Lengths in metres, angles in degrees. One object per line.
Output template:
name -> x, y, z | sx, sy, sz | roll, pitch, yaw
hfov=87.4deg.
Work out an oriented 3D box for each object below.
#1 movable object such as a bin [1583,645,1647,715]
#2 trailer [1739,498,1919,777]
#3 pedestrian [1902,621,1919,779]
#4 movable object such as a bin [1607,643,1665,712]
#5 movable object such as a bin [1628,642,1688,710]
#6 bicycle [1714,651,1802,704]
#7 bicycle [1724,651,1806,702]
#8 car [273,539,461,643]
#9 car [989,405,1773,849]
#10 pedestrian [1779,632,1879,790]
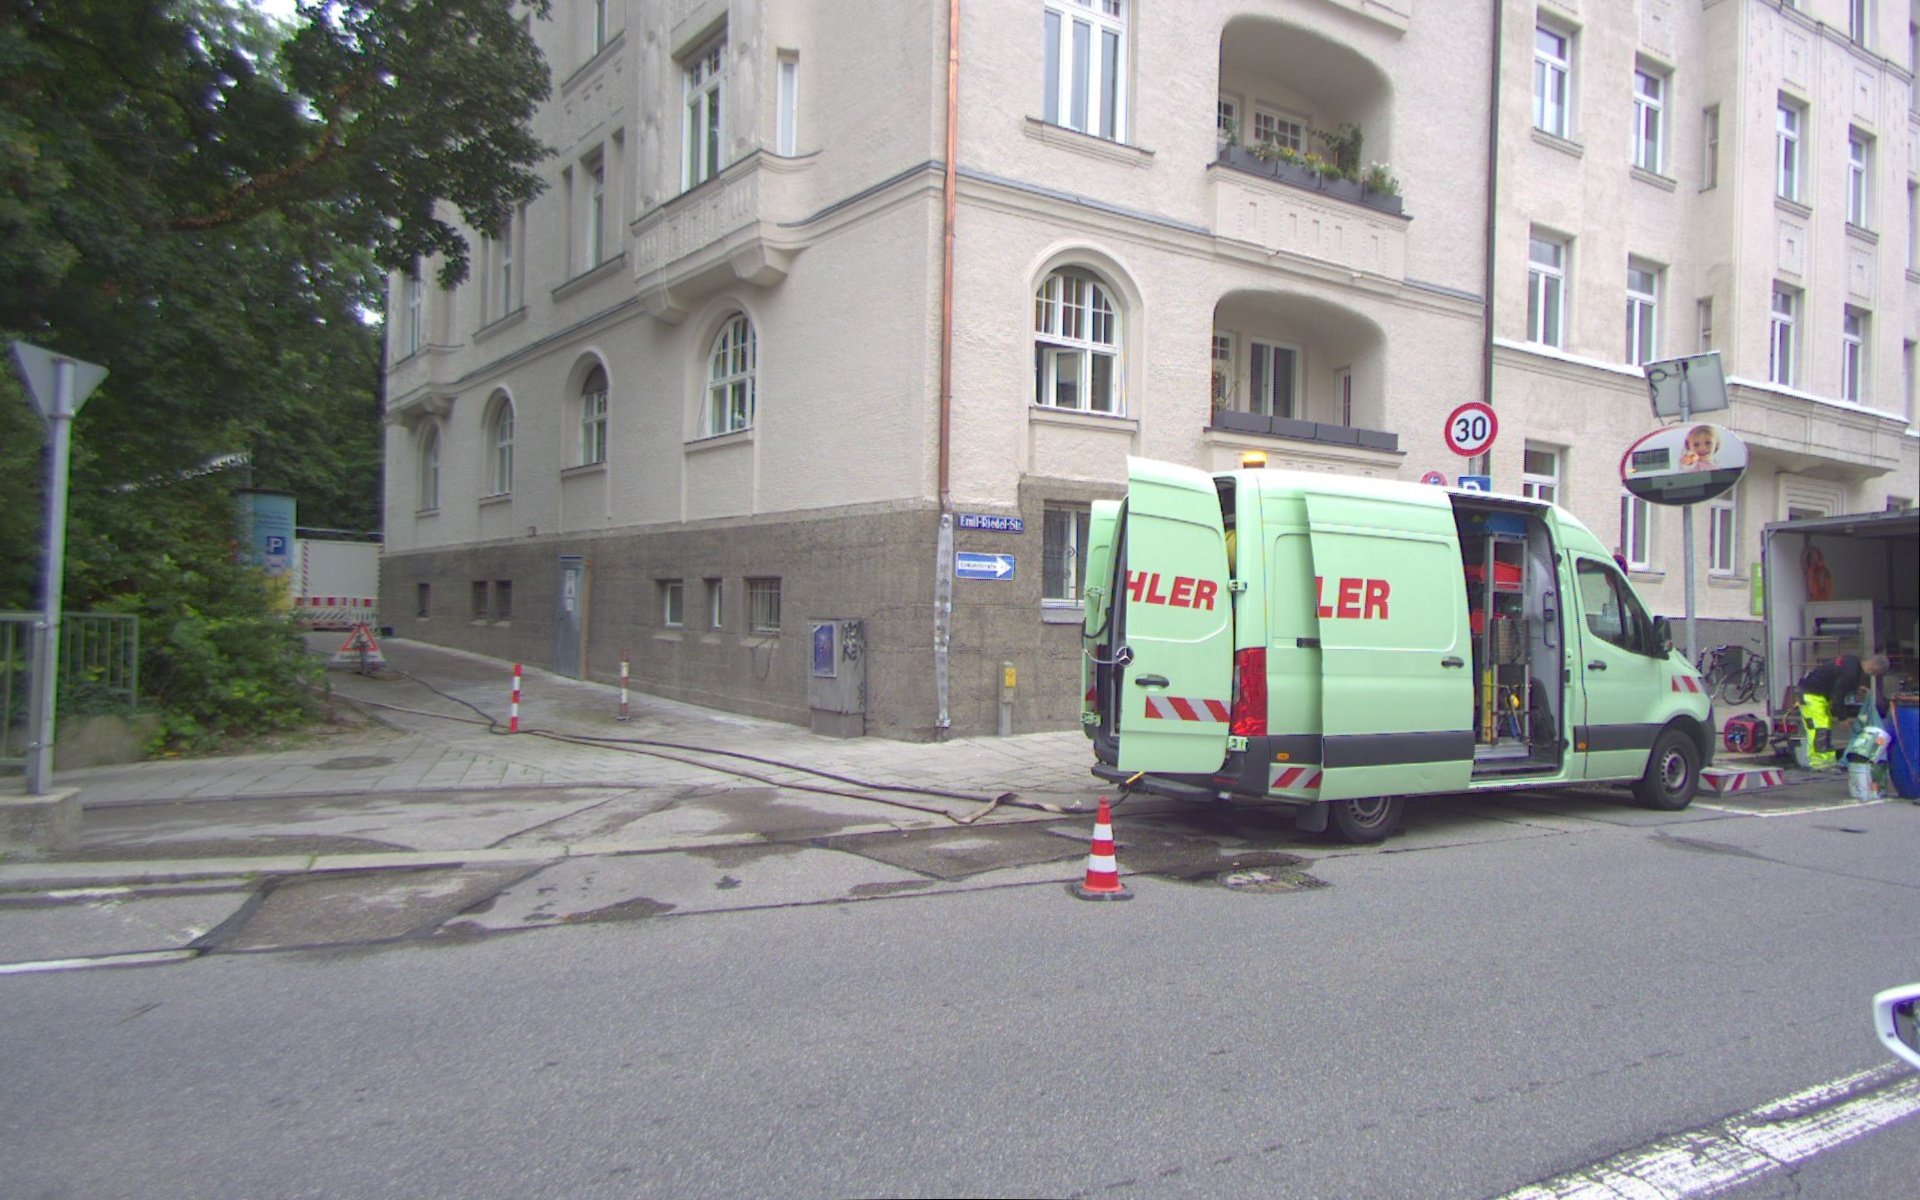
movable object such as a bin -> 11.194, 1.350, 17.172 | 0.630, 1.143, 0.675 | 2, -1, -24
trailer -> 13.615, 0.471, 12.656 | 7.495, 3.007, 2.797 | 1, -3, -25
pedestrian -> 10.433, 1.060, 10.565 | 0.753, 1.652, 0.633 | 0, -2, 44
movable object such as a bin -> 11.721, 1.335, 17.421 | 0.547, 1.143, 0.647 | 2, -1, -24
movable object such as a bin -> 12.248, 1.327, 17.626 | 0.547, 1.143, 0.670 | 2, -1, -23
bicycle -> 15.111, 1.474, 19.025 | 1.562, 0.927, 0.395 | 3, 2, -15
bicycle -> 15.757, 1.497, 19.655 | 1.731, 0.927, 0.414 | 2, 2, -22
car -> -19.723, -0.206, 33.579 | 2.446, 3.216, 4.784 | 0, -2, 39
car -> 3.711, 0.243, 8.357 | 6.705, 2.606, 2.134 | 2, 0, -26
pedestrian -> 9.374, 1.160, 10.833 | 0.633, 1.601, 0.754 | 2, -1, -43
